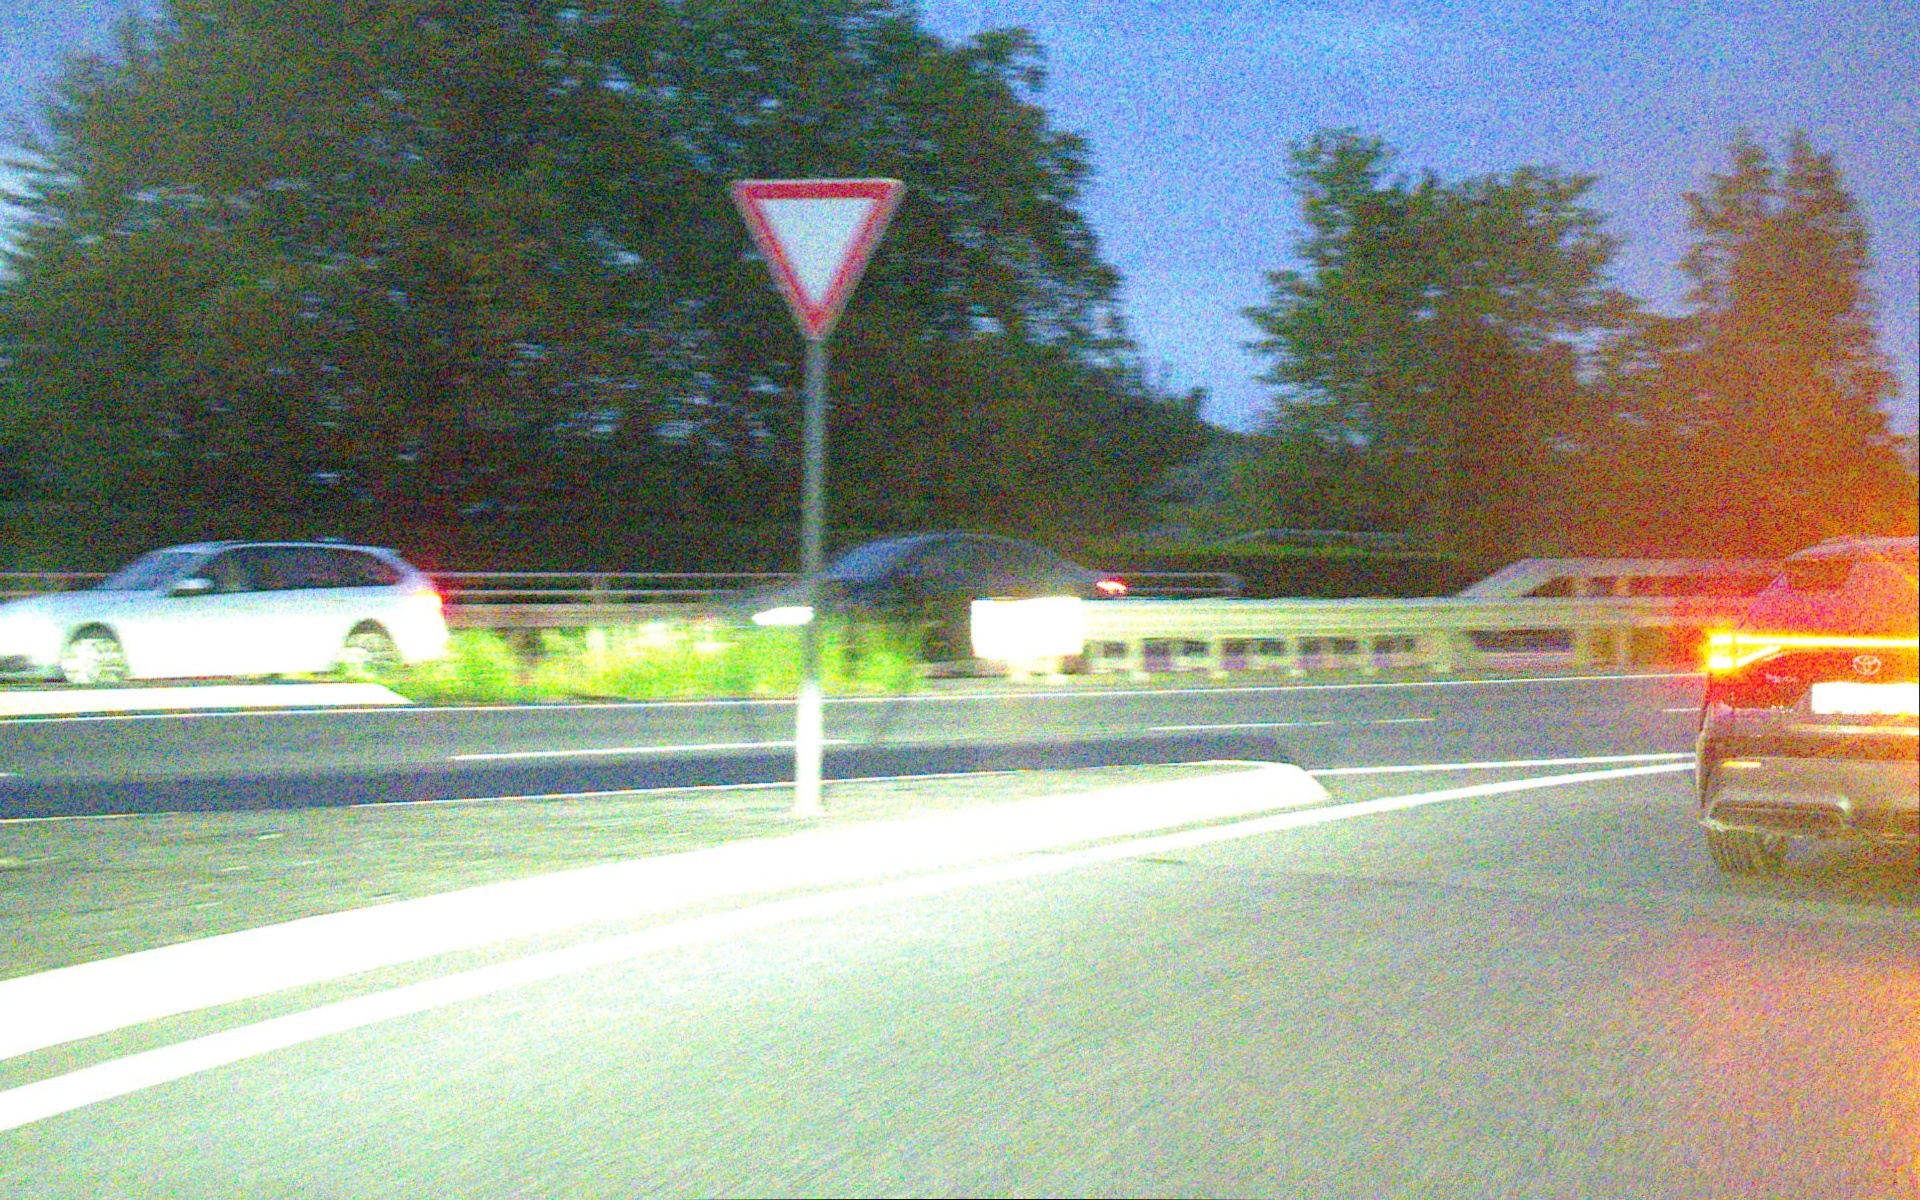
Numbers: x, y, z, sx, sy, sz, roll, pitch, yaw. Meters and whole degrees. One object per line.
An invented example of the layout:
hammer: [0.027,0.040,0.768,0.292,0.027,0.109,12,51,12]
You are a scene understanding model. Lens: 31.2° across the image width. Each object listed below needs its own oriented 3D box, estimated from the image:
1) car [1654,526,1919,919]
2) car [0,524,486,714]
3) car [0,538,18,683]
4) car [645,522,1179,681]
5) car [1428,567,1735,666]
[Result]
car: [5.017,0.481,16.536,1.904,1.614,4.549,3,2,30]
car: [-7.107,0.183,32.610,4.859,1.676,1.999,1,0,-41]
car: [-11.867,0.138,33.610,4.720,1.448,1.999,-1,1,-40]
car: [-0.406,-0.001,33.571,5.032,1.448,1.999,0,0,-38]
car: [9.519,0.223,52.489,4.720,1.448,1.999,0,0,-39]
